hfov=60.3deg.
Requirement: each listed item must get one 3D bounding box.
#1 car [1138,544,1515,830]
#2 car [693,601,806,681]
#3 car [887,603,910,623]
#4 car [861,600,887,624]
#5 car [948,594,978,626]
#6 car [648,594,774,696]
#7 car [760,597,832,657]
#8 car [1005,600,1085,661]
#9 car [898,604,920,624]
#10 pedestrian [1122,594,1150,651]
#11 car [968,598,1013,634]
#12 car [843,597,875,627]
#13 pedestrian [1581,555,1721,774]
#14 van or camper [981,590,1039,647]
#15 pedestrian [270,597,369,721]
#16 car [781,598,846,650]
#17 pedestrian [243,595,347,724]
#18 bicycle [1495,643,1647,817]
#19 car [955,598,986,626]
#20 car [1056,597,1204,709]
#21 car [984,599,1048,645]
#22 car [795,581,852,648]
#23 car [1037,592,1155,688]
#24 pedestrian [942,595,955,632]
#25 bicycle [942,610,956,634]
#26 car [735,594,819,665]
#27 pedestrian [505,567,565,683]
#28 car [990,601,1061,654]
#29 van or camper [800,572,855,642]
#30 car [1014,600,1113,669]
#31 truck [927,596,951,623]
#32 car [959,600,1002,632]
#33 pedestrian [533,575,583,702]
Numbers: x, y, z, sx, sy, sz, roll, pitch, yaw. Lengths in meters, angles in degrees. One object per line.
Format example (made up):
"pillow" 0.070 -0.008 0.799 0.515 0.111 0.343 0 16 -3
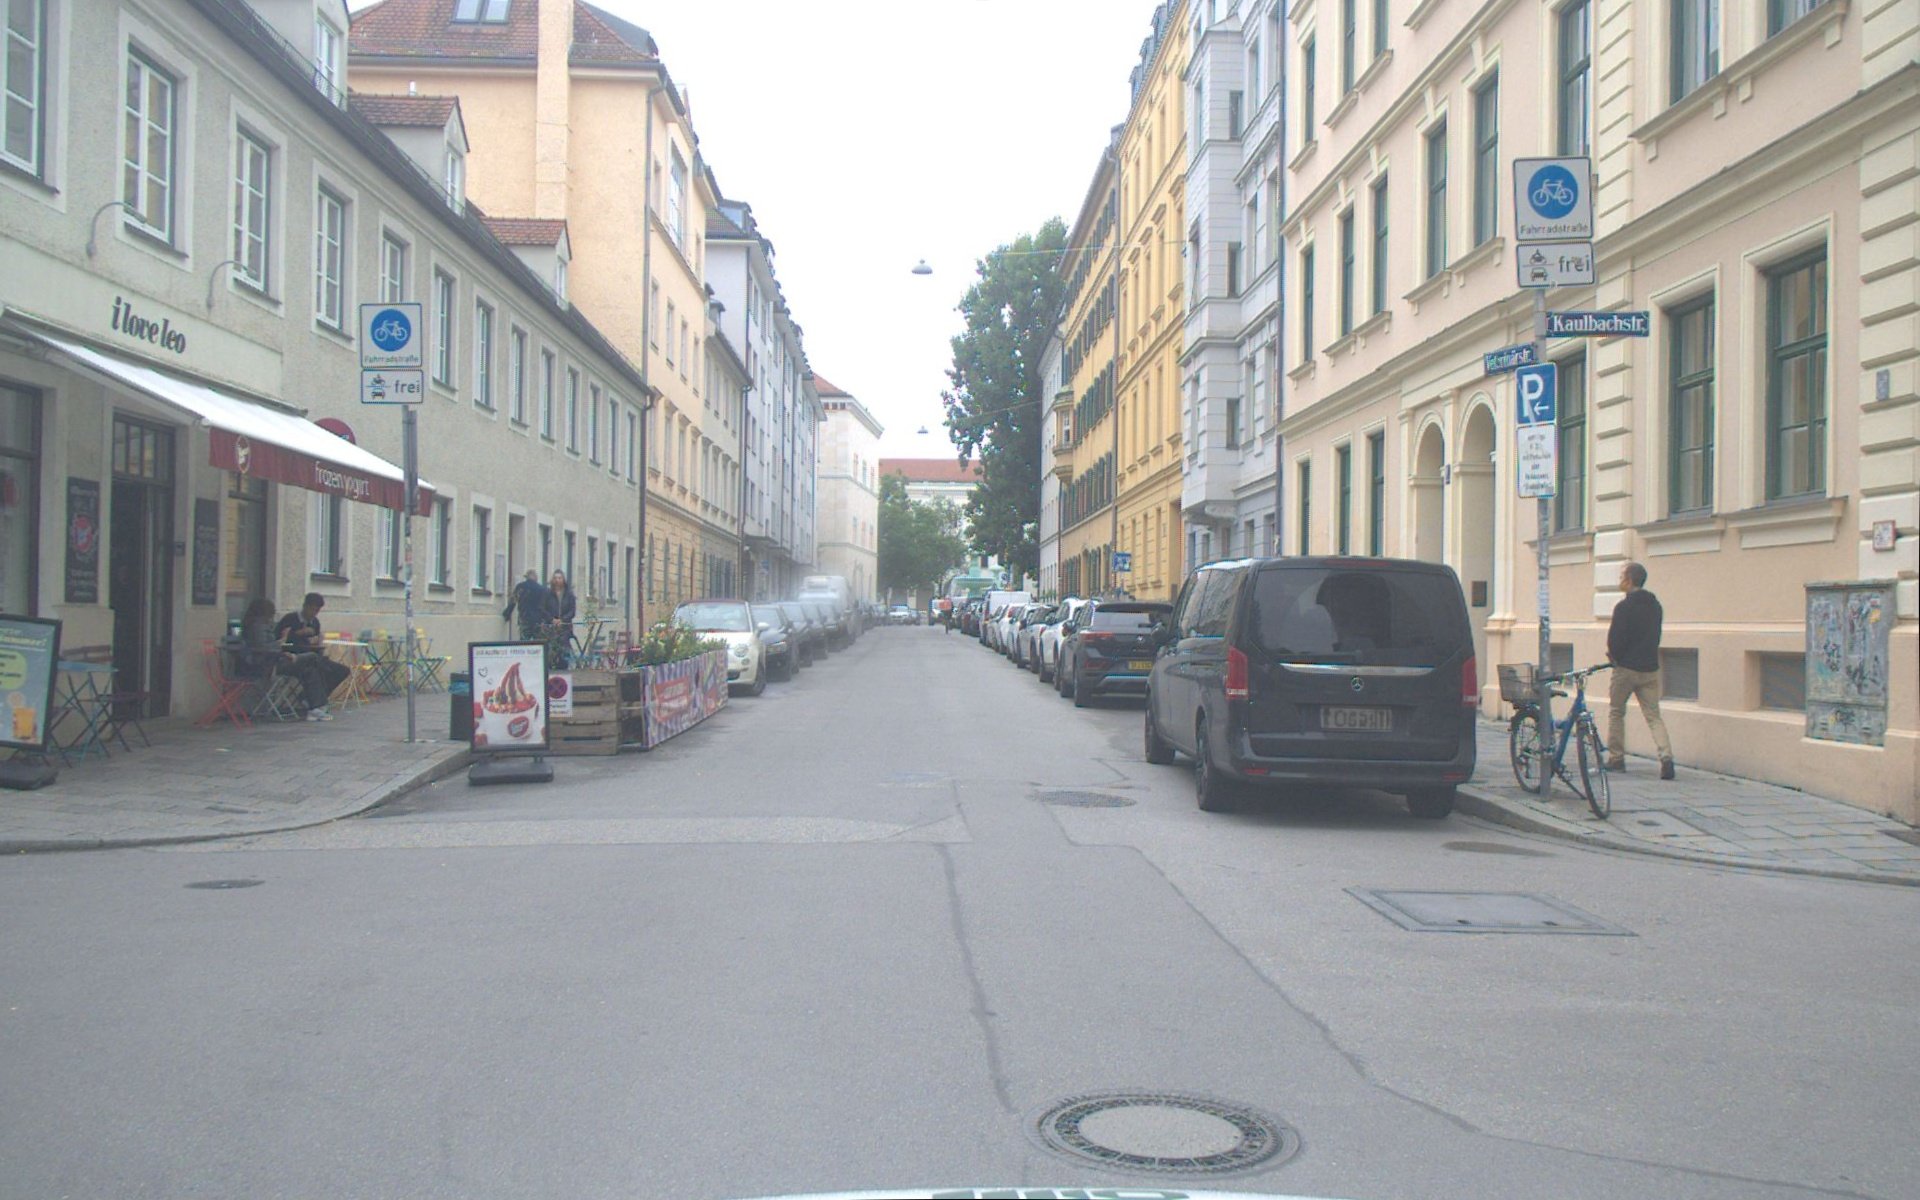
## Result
"car" 2.773 0.590 13.852 1.957 1.897 5.252 1 0 0
"car" -3.990 0.739 32.035 1.762 1.362 4.683 1 0 -3
"car" -4.999 1.032 134.741 1.671 1.609 3.863 -1 0 1
"car" -6.210 0.865 119.868 1.671 1.637 3.863 -1 0 1
"car" 0.188 0.642 105.501 1.814 1.953 4.768 0 -1 -1
"car" -3.967 0.679 26.880 1.720 1.501 3.710 1 0 -5
"car" -4.253 0.674 43.160 1.781 1.467 4.127 0 0 -5
"car" 2.125 0.749 42.293 1.673 1.433 4.813 1 0 -1
"car" -4.327 1.179 140.896 1.671 1.609 3.863 -1 0 1
"pedestrian" 5.033 0.640 47.307 0.647 1.599 0.642 -2 -1 -2
"car" 1.322 0.706 73.456 1.775 1.490 4.245 2 -1 -2
"car" -5.599 0.668 92.206 1.672 1.637 3.861 0 0 -2
"pedestrian" 5.716 0.530 13.735 0.704 1.747 1.003 0 -2 -3
"van or camper" 1.739 0.646 58.982 1.796 1.904 5.077 1 0 -1
"pedestrian" -6.935 0.638 17.933 0.787 1.313 0.693 0 -2 -2
"car" -4.211 0.674 48.004 1.719 1.433 4.101 1 0 -3
"pedestrian" -6.907 0.612 17.210 0.787 1.312 0.693 0 -2 -2
"bicycle" 4.470 0.917 12.206 0.456 1.070 1.729 -1 2 -1
"car" 0.601 0.740 99.635 1.775 1.642 4.154 0 -1 -1
"car" 2.498 0.751 25.281 1.719 1.548 4.273 1 0 -1
"car" 1.792 0.707 54.065 1.674 1.417 4.203 1 0 -4
"car" -4.417 0.456 53.057 1.720 2.030 4.620 1 0 -6
"car" 2.431 0.700 30.529 1.708 1.611 4.465 1 0 -1
"pedestrian" -0.545 0.645 78.502 0.629 1.744 0.842 0 -2 -1
"bicycle" -0.543 1.065 78.434 0.662 1.114 1.759 0 -1 -1
"car" -4.151 0.650 38.010 1.720 1.522 4.197 1 0 -4
"pedestrian" -7.186 0.421 27.975 0.806 1.931 0.827 0 -2 -3
"car" 1.896 0.781 49.051 1.674 1.480 4.093 1 0 -4
"van or camper" -4.632 0.258 58.295 1.719 2.321 5.270 1 0 -2
"car" 2.238 0.732 36.856 1.674 1.429 4.204 1 0 -4
"truck" -1.827 0.834 143.812 2.078 2.287 6.183 0 -1 -1
"car" 0.953 0.748 78.728 1.776 1.449 4.244 2 -1 -3
"pedestrian" -5.830 0.554 24.022 0.518 1.813 0.877 0 -2 -1
